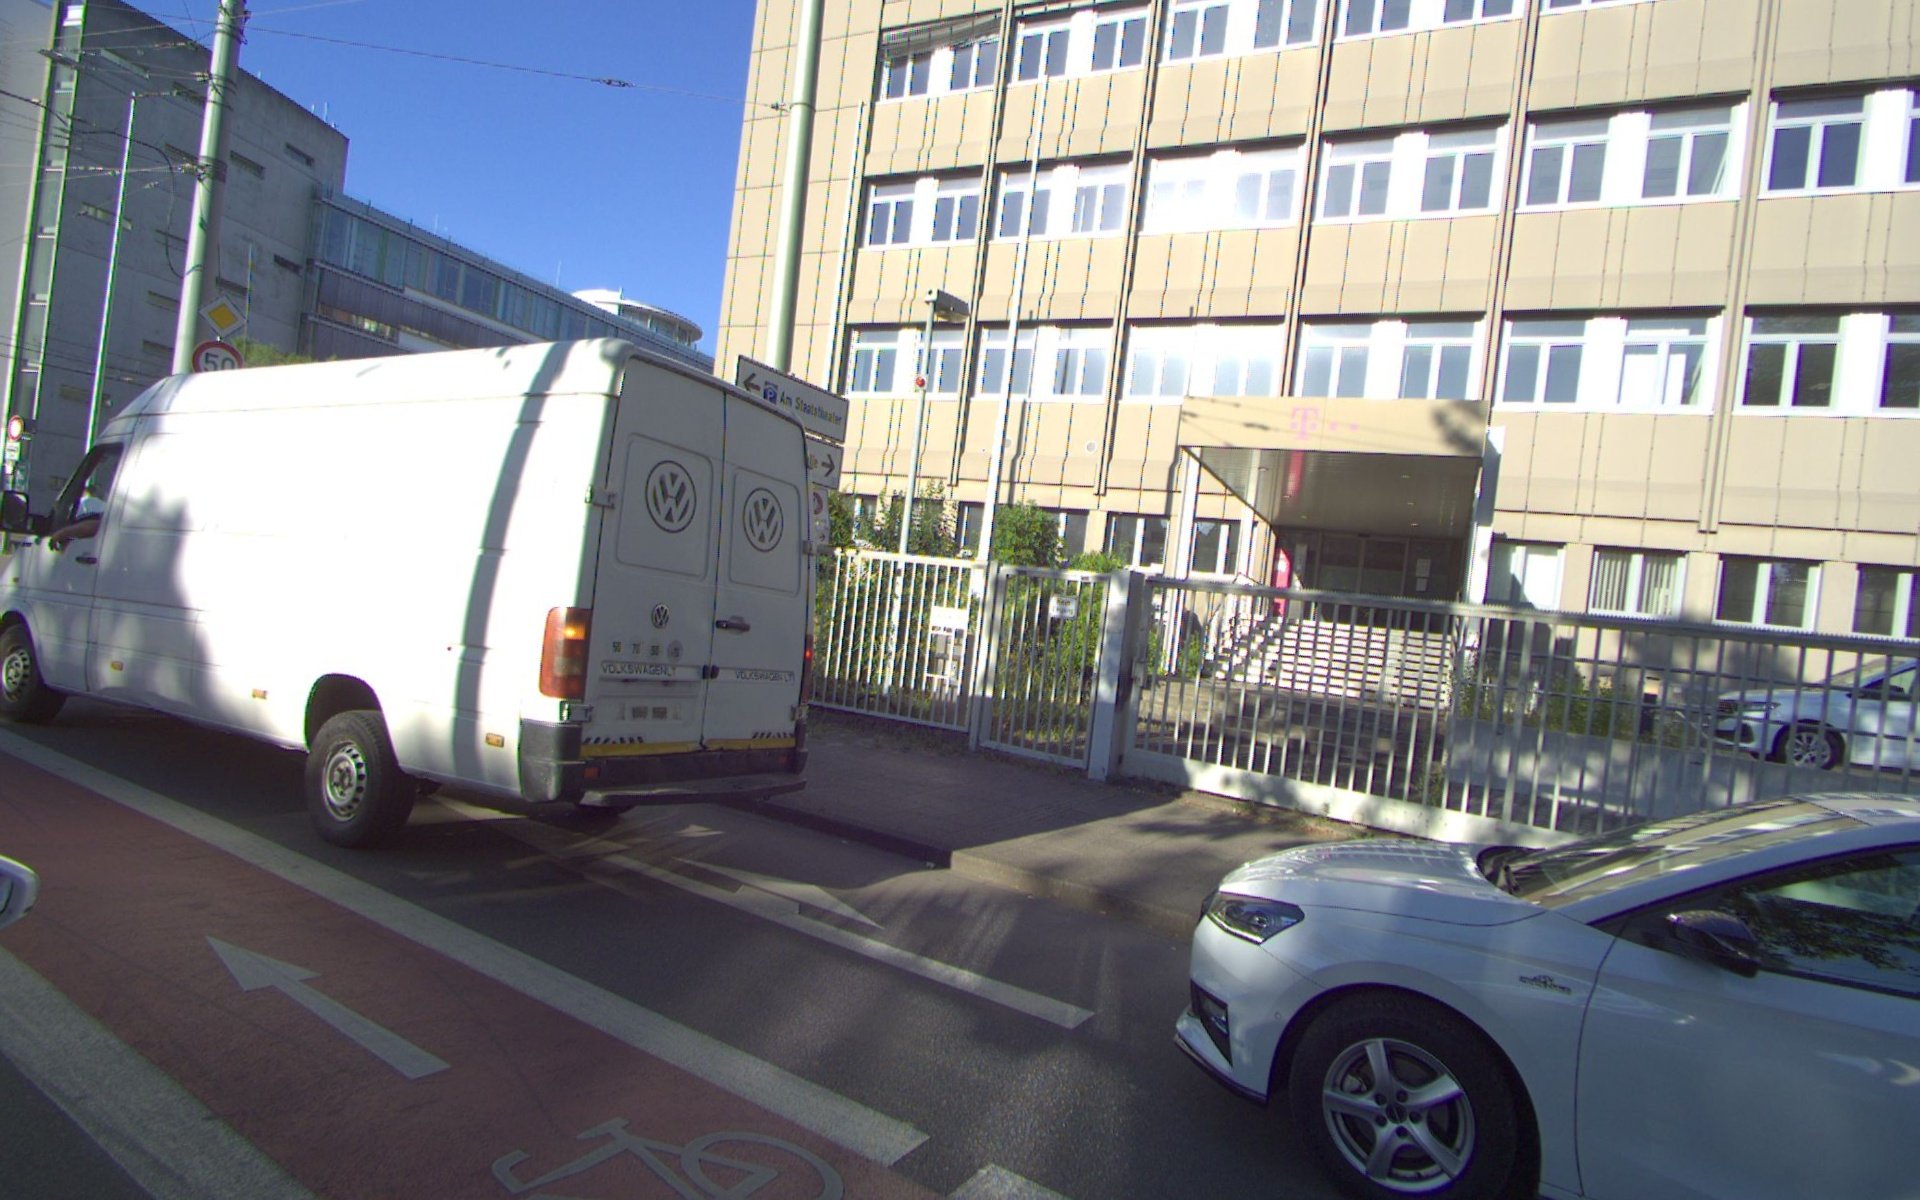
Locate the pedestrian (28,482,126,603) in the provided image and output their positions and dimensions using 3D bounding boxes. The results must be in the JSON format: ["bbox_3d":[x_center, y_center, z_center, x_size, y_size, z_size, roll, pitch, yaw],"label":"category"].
[{"bbox_3d":[-13.920,-0.895,15.866,0.758,1.770,0.788,7,1,22],"label":"pedestrian"}]

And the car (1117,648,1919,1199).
[{"bbox_3d":[2.719,1.189,3.061,3.914,1.518,1.806,7,-1,30],"label":"car"}]

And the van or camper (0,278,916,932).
[{"bbox_3d":[-3.706,-0.193,6.679,6.236,2.764,2.276,7,-2,28],"label":"van or camper"}]

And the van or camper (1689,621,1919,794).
[{"bbox_3d":[12.870,1.558,13.180,4.911,1.932,1.985,7,0,26],"label":"van or camper"}]
